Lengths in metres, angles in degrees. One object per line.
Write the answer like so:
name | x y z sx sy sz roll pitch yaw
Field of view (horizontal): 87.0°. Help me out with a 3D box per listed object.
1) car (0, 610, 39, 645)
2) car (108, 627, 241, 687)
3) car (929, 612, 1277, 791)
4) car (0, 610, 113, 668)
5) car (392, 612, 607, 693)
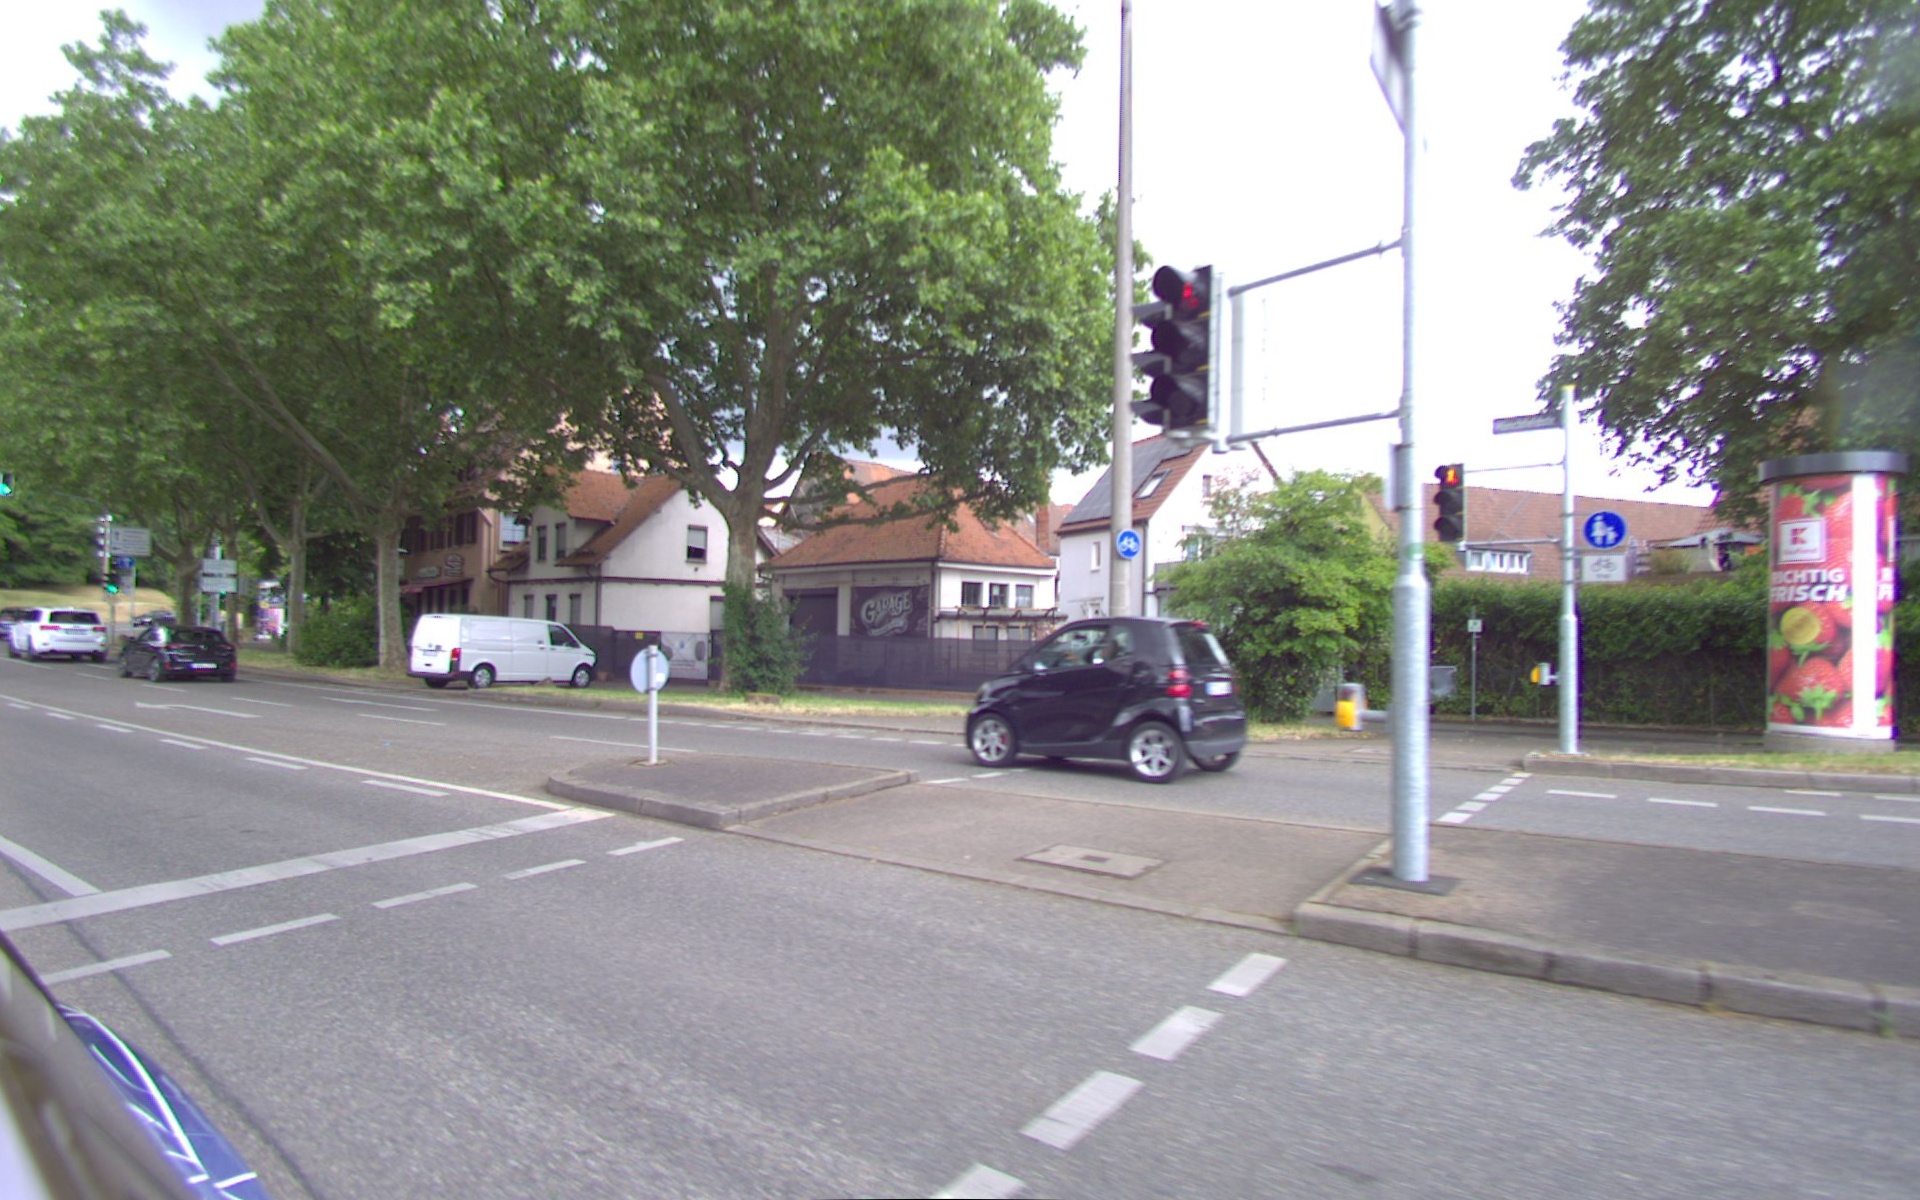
car | -46.318 1.344 49.311 4.417 1.599 1.776 -1 -5 45
car | -20.565 1.465 26.452 3.939 1.393 1.555 0 -3 34
car | 1.387 0.945 10.329 3.185 1.539 1.553 -2 -4 39
car | -29.837 1.256 33.359 4.745 1.777 1.893 0 -2 37
car | -12.318 1.457 27.518 2.072 1.946 5.200 0 -4 24
